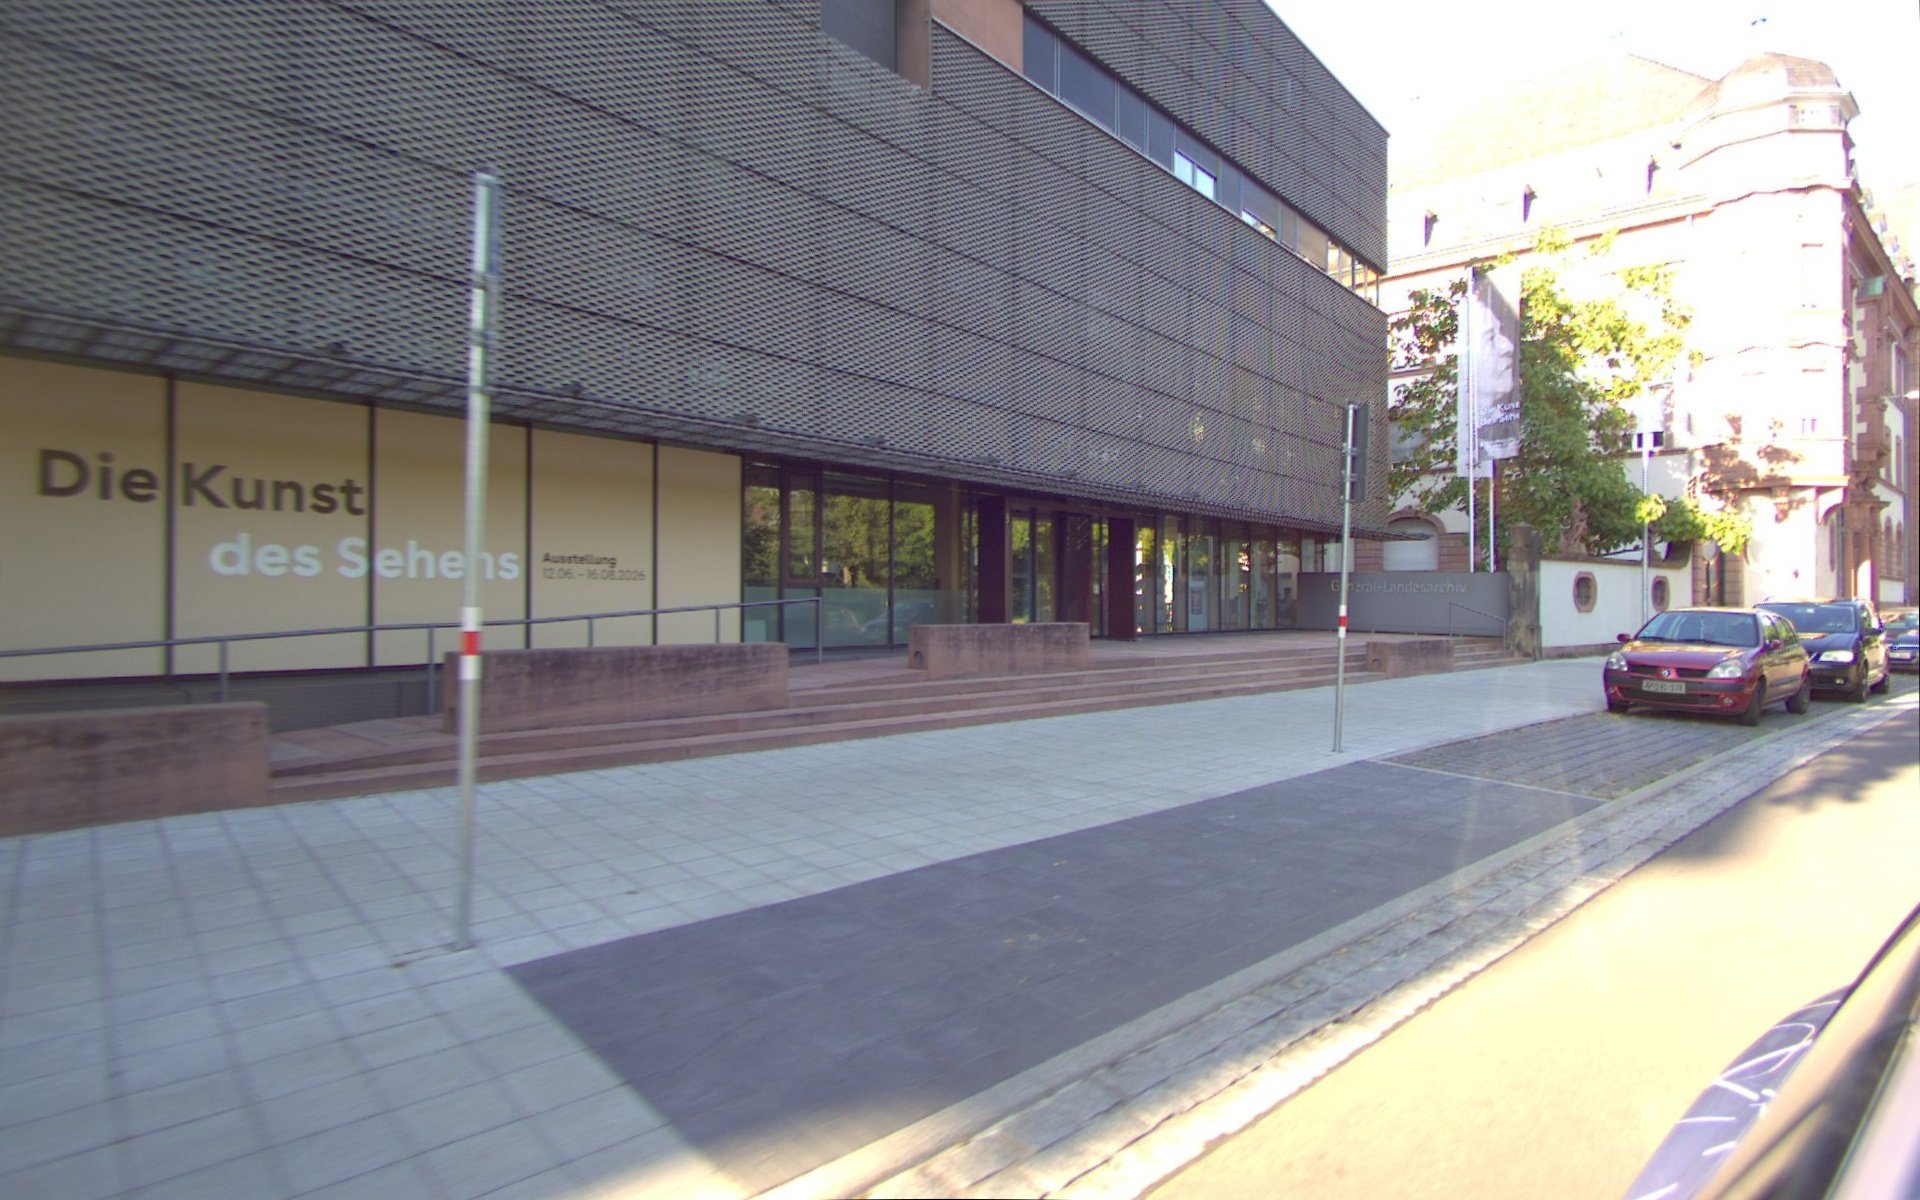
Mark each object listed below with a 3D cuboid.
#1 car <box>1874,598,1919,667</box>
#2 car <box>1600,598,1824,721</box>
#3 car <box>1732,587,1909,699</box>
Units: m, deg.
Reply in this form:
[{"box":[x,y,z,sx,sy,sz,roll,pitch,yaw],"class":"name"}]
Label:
[{"box":[22.190,0.703,23.090,3.664,1.464,1.509,-1,0,-40],"class":"car"},{"box":[9.977,0.680,13.354,3.485,1.374,1.610,-1,0,-40],"class":"car"},{"box":[14.251,0.609,16.696,3.880,1.638,1.610,-1,0,-40],"class":"car"}]
